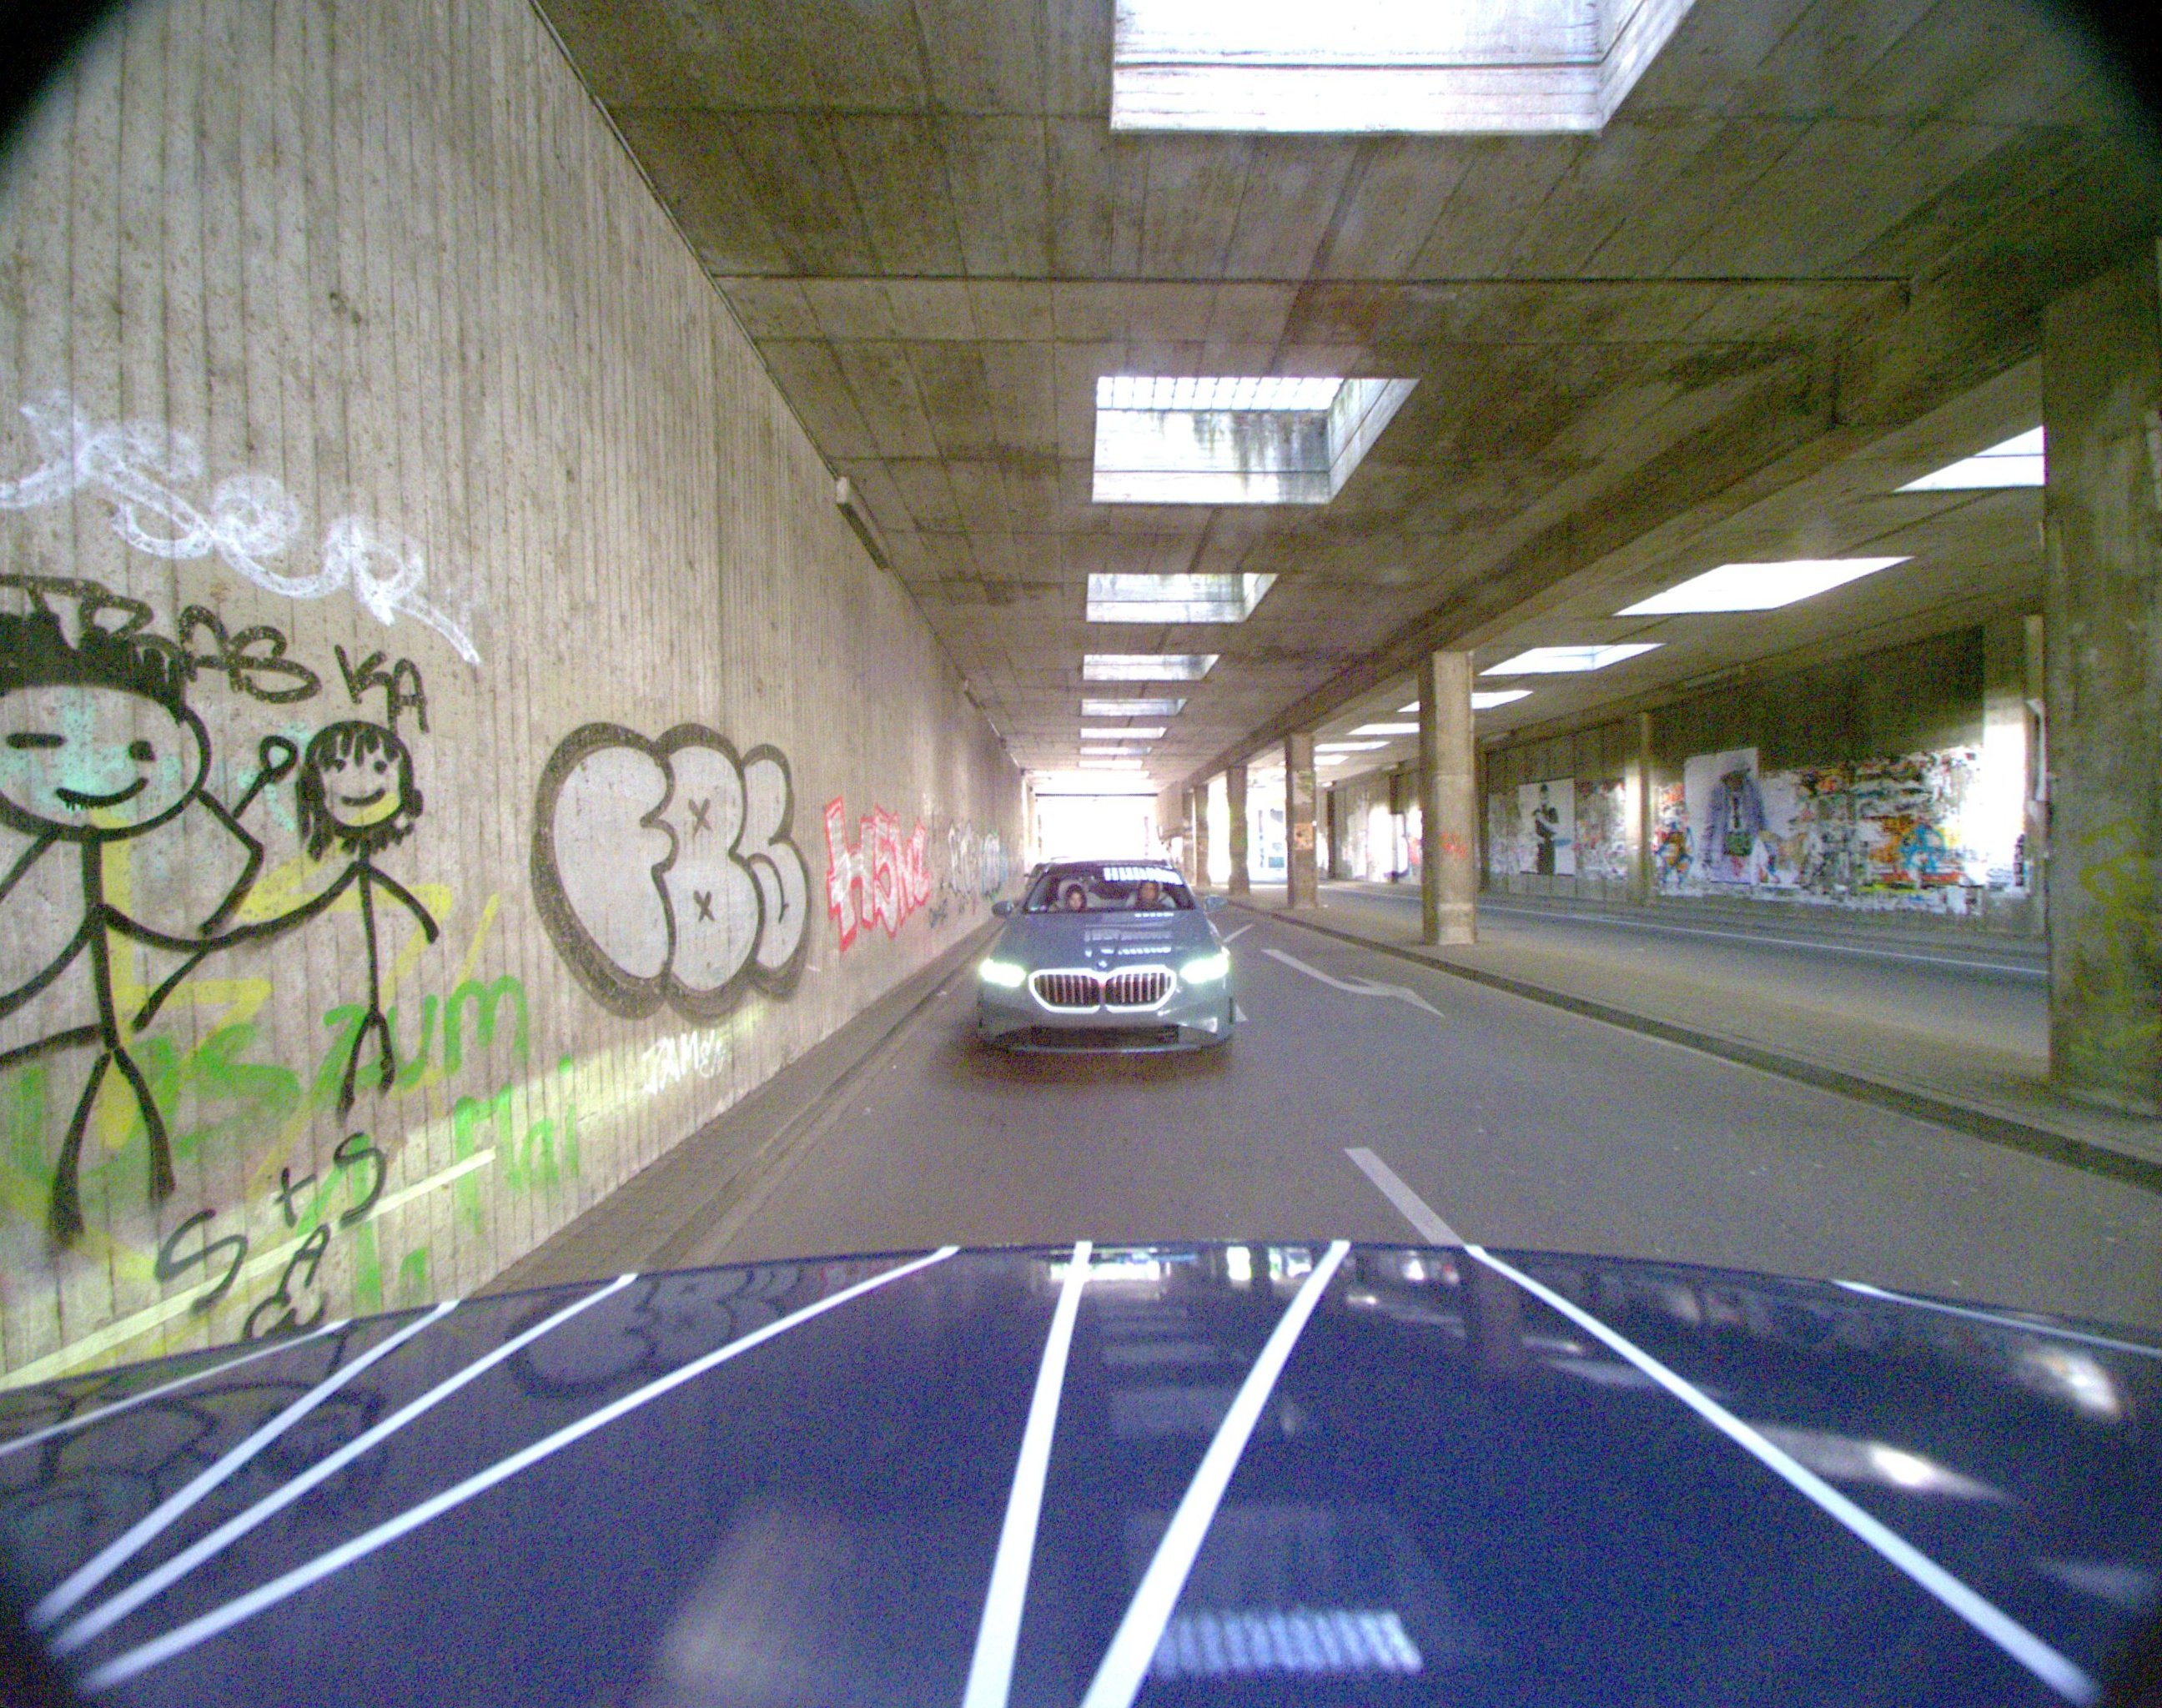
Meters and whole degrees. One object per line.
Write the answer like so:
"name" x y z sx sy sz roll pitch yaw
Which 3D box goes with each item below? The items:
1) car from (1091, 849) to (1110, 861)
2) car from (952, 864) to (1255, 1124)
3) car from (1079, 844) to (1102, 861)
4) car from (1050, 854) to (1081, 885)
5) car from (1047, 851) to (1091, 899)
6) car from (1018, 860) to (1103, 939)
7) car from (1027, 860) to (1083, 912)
"car" 2.476 0.149 97.964 1.741 1.519 3.786 -2 0 -9
"car" 0.129 0.911 7.275 1.861 1.516 5.042 -2 0 0
"car" 1.279 -0.181 103.656 2.161 2.150 4.785 -2 0 -12
"car" -0.806 0.812 41.244 1.592 1.562 3.694 -2 0 0
"car" -0.462 0.777 29.917 1.592 1.711 3.694 -2 0 0
"car" -0.424 0.926 17.284 1.679 1.516 3.969 -2 0 0
"car" -0.760 0.954 23.910 1.592 1.432 3.806 -2 0 0
